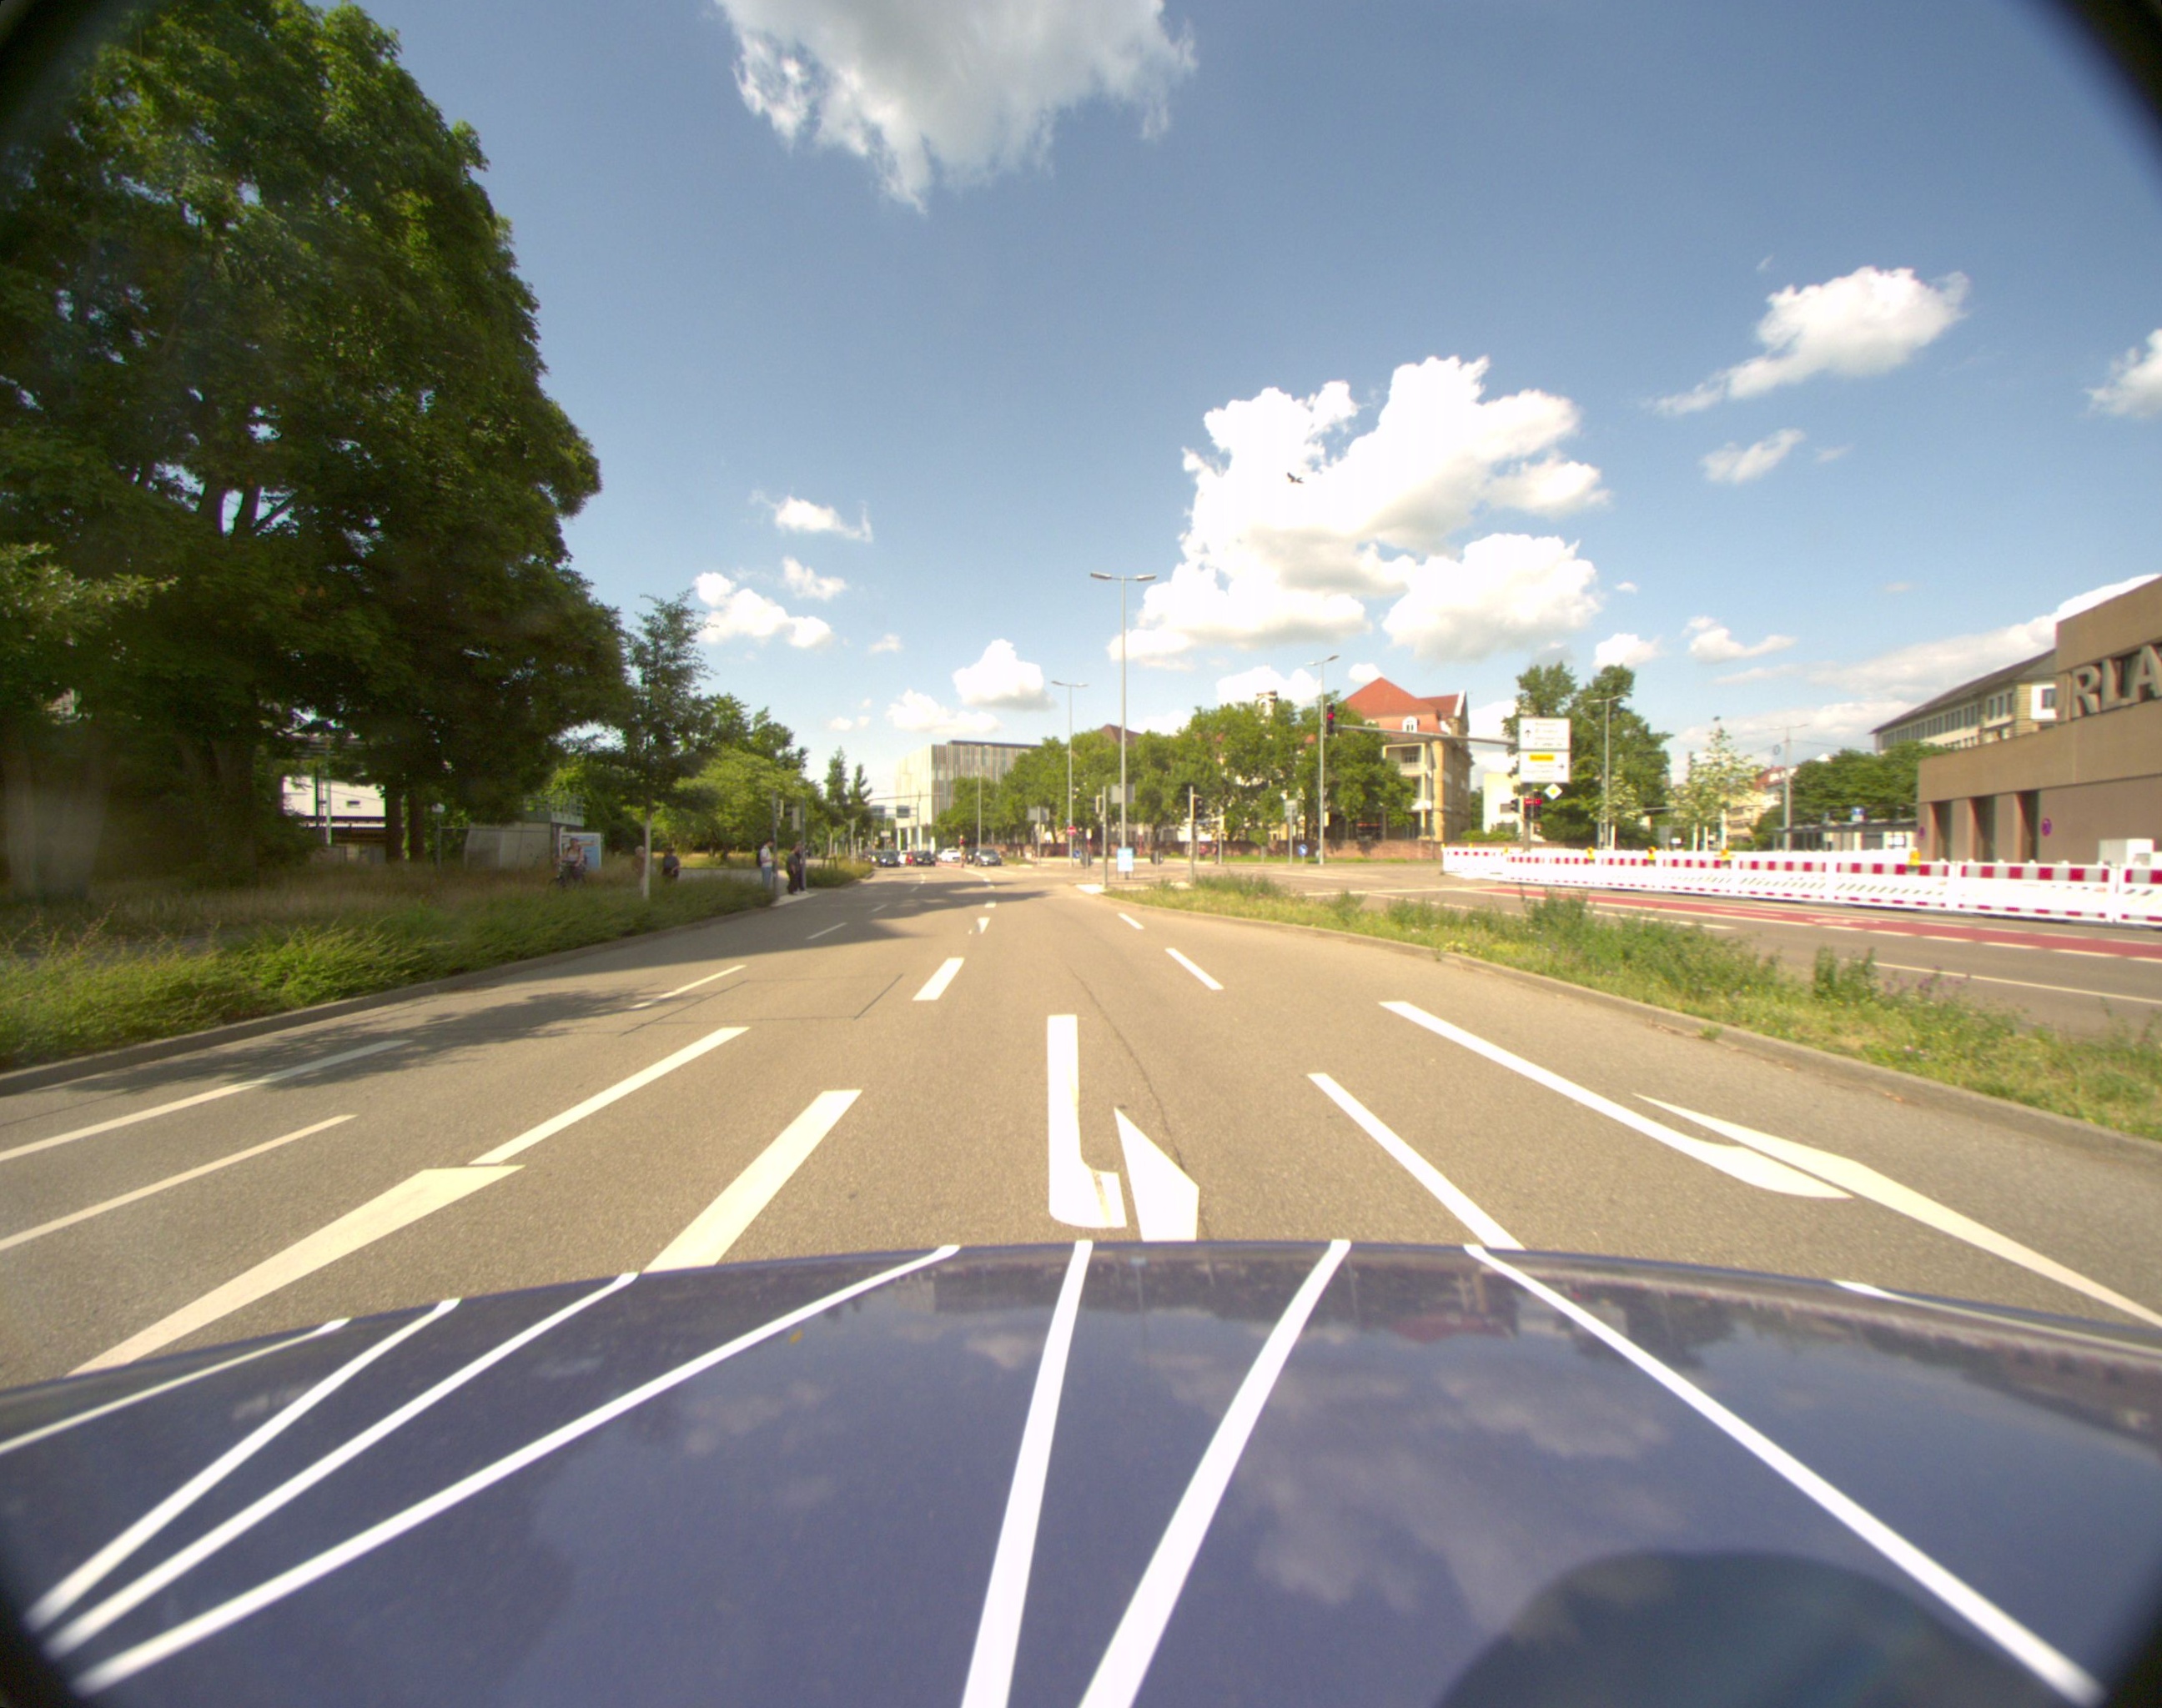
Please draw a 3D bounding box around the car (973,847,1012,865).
[{"bbox_3d":[-7.377,0.106,62.827,2.002,1.368,4.261,-2,1,-23],"label":"car"}]

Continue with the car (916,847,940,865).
[{"bbox_3d":[-13.421,0.159,66.484,1.828,1.455,3.994,-1,1,-15],"label":"car"}]

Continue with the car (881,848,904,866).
[{"bbox_3d":[-16.314,0.246,65.652,1.828,1.455,3.994,-1,1,-14],"label":"car"}]

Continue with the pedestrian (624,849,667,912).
[{"bbox_3d":[-12.329,0.735,21.548,0.768,1.725,0.718,-2,2,-8],"label":"pedestrian"}]

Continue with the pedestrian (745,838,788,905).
[{"bbox_3d":[-9.817,0.528,23.749,0.965,2.002,0.768,-2,2,-2],"label":"pedestrian"}]

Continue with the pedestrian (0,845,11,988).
[{"bbox_3d":[-13.016,0.738,8.571,0.616,1.690,0.889,2,2,-5],"label":"pedestrian"}]

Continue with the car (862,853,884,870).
[{"bbox_3d":[-19.827,0.712,72.391,1.827,1.455,3.995,-1,1,-13],"label":"car"}]

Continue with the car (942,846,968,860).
[{"bbox_3d":[-13.550,-0.146,81.510,1.781,1.347,3.992,-2,1,-23],"label":"car"}]

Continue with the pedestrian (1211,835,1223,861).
[{"bbox_3d":[10.904,-0.478,60.879,0.582,1.983,0.621,-3,2,-27],"label":"pedestrian"}]

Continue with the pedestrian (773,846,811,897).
[{"bbox_3d":[-10.009,0.591,26.333,0.928,1.725,0.768,-2,2,-2],"label":"pedestrian"}]

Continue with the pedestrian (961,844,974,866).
[{"bbox_3d":[-8.983,0.073,60.153,0.739,1.705,0.874,-3,2,-22],"label":"pedestrian"}]

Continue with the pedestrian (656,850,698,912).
[{"bbox_3d":[-11.557,0.754,21.757,0.768,1.725,0.718,-2,2,-8],"label":"pedestrian"}]

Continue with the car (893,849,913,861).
[{"bbox_3d":[-18.561,0.045,78.950,1.911,1.127,4.096,-1,2,-15],"label":"car"}]

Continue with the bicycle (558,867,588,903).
[{"bbox_3d":[-14.053,0.835,21.048,0.650,0.876,1.817,-1,1,-33],"label":"bicycle"}]

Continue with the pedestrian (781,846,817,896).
[{"bbox_3d":[-10.057,0.606,27.110,0.928,1.725,0.768,-2,2,-2],"label":"pedestrian"}]

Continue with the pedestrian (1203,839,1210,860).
[{"bbox_3d":[10.328,-0.369,62.608,0.368,1.723,0.451,-1,2,32],"label":"pedestrian"}]

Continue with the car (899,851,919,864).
[{"bbox_3d":[-16.331,0.310,72.041,1.599,1.127,3.624,-2,1,-16],"label":"car"}]

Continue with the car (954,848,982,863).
[{"bbox_3d":[-10.623,0.110,71.248,1.735,1.327,3.782,-2,1,-20],"label":"car"}]
